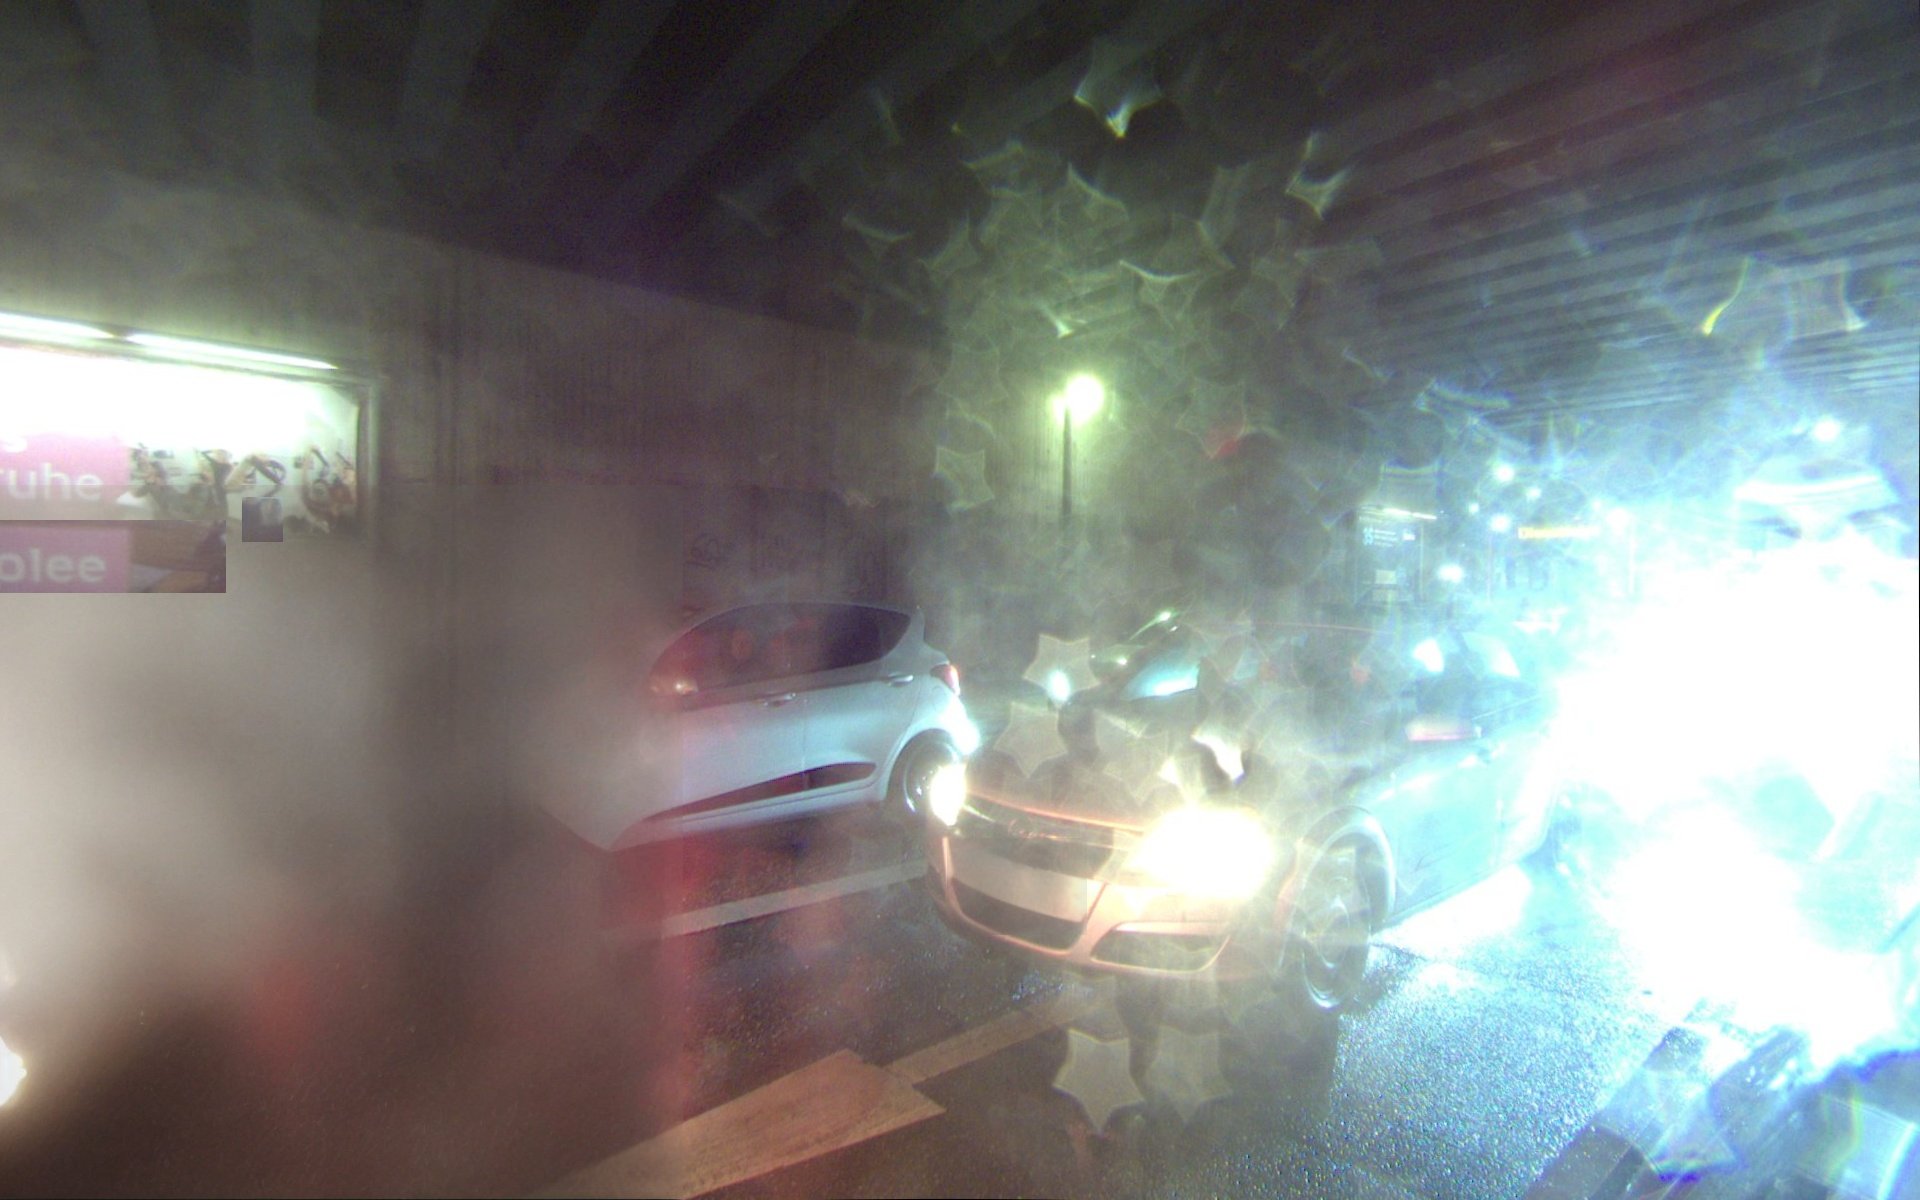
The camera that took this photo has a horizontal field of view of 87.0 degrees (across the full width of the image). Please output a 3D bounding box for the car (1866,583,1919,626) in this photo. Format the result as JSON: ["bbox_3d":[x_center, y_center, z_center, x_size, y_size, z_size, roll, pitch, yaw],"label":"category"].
[{"bbox_3d":[36.485,0.137,39.413,1.720,1.505,4.098,3,3,42],"label":"car"}]

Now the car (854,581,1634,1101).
[{"bbox_3d":[1.649,0.650,4.886,4.091,1.464,1.723,-1,1,-42],"label":"car"}]

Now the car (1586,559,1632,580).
[{"bbox_3d":[46.324,-2.157,72.327,1.685,1.407,3.979,0,1,17],"label":"car"}]

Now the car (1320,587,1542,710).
[{"bbox_3d":[7.134,0.598,15.133,1.721,1.505,4.096,3,3,44],"label":"car"}]

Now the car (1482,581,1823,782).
[{"bbox_3d":[6.710,0.618,9.627,4.091,1.506,1.722,-1,-2,-42],"label":"car"}]

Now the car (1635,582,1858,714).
[{"bbox_3d":[10.767,0.530,13.762,3.906,1.481,1.696,-1,3,-42],"label":"car"}]

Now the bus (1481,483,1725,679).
[{"bbox_3d":[14.010,-0.406,21.565,2.733,3.318,9.550,1,1,43],"label":"bus"}]

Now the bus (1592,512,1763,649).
[{"bbox_3d":[20.458,-0.556,28.565,2.733,3.278,9.551,1,1,43],"label":"bus"}]

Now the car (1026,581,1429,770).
[{"bbox_3d":[2.941,0.576,10.439,4.705,1.505,1.723,-1,2,-42],"label":"car"}]

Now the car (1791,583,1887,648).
[{"bbox_3d":[22.948,0.331,26.381,1.720,1.505,4.098,3,3,42],"label":"car"}]

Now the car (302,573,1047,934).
[{"bbox_3d":[-1.499,0.603,6.236,4.091,1.464,1.723,-1,3,-42],"label":"car"}]

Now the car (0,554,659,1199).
[{"bbox_3d":[-2.700,0.674,0.975,4.308,1.464,1.723,-1,3,-42],"label":"car"}]
